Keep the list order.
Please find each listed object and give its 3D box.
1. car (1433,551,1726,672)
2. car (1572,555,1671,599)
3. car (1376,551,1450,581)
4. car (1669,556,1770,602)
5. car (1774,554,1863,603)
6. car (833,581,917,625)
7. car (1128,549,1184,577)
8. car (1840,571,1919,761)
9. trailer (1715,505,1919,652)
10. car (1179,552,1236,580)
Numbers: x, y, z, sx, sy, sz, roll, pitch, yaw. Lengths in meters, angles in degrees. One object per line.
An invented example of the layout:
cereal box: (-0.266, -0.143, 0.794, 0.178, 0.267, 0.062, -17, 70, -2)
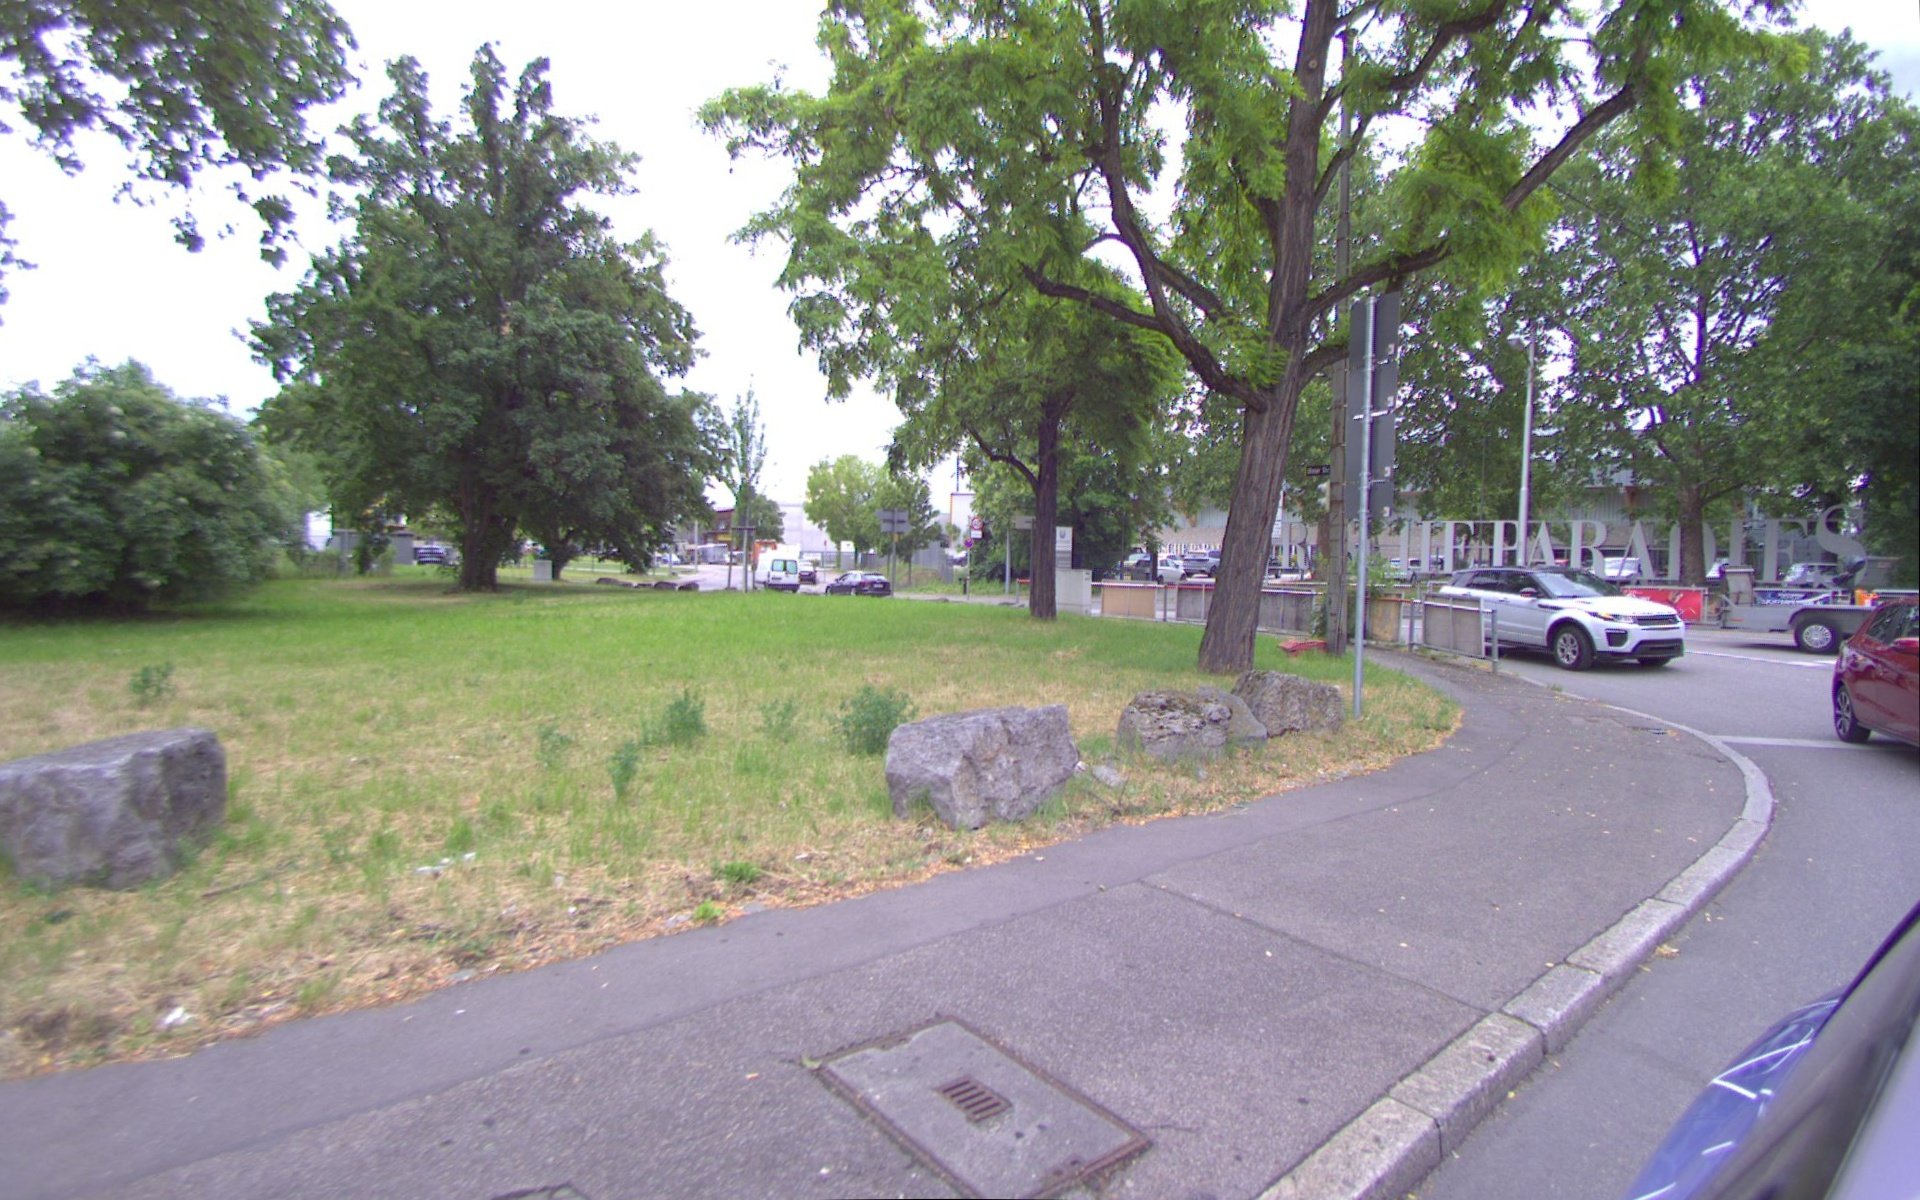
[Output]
car: (10.457, 0.077, 17.505, 1.878, 1.587, 4.126, -3, 6, -15)
car: (25.608, -0.903, 39.110, 4.620, 1.475, 1.996, -3, 1, -41)
car: (24.915, -1.894, 55.551, 5.167, 1.449, 1.933, -3, 1, -44)
car: (27.531, -0.783, 36.621, 4.620, 1.475, 1.996, -3, 1, -41)
car: (29.727, -0.768, 34.976, 1.994, 1.475, 4.626, -2, 1, 44)
car: (-4.348, 0.115, 51.104, 1.960, 1.474, 5.231, 9, 1, -31)
car: (12.742, -2.414, 65.583, 1.908, 1.721, 3.943, 3, 3, 40)
car: (8.862, 0.568, 8.199, 1.751, 1.548, 3.706, 0, 3, 27)
trailer: (16.601, -0.365, 17.405, 2.112, 2.416, 5.386, 0, 2, -38)
car: (15.695, -2.145, 64.057, 1.908, 1.721, 3.943, 3, 3, 40)
